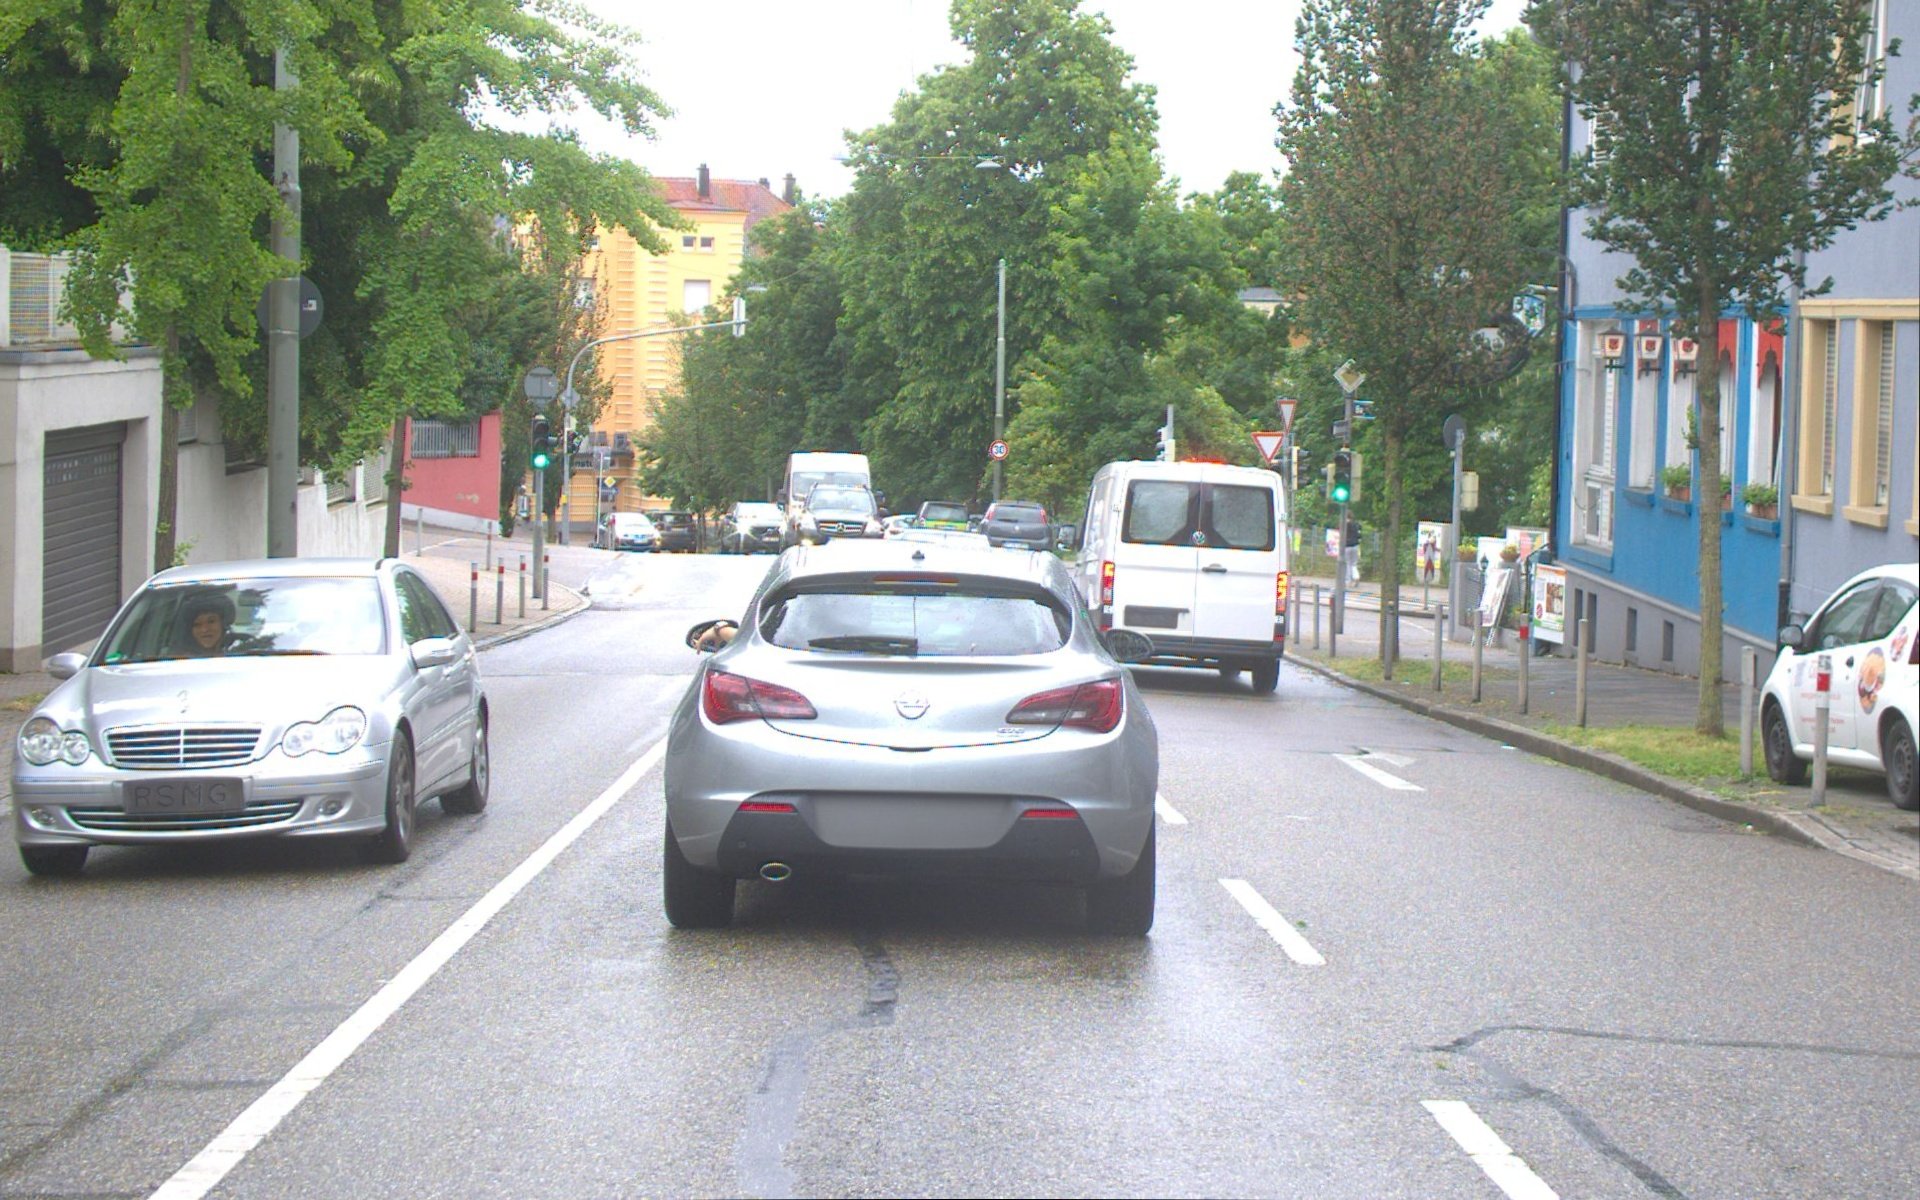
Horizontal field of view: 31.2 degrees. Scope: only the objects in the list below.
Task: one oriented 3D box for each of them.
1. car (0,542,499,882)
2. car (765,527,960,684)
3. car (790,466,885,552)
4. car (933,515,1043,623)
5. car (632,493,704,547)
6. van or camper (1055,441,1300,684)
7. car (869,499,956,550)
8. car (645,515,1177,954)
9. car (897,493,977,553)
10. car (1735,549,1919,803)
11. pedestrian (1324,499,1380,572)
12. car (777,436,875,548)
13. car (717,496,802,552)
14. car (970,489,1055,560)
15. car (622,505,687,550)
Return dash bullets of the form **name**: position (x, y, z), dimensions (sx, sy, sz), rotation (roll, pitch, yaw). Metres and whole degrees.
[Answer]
- **car**: position (-3.407, 0.445, 16.891), dimensions (1.719, 1.380, 4.285), rotation (-2, 1, -1)
- **car**: position (-0.924, 0.012, 33.337), dimensions (1.776, 1.425, 3.786), rotation (0, 1, -1)
- **car**: position (-2.611, -1.937, 72.335), dimensions (1.821, 1.646, 4.347), rotation (3, 2, -3)
- **car**: position (0.358, -0.452, 47.385), dimensions (1.383, 1.407, 3.457), rotation (1, 2, -1)
- **car**: position (-11.189, -3.050, 131.617), dimensions (1.993, 2.007, 4.001), rotation (1, 1, -16)
- **van or camper**: position (2.251, -0.443, 37.144), dimensions (2.103, 2.318, 5.418), rotation (3, 1, -1)
- **car**: position (-1.538, -2.402, 110.173), dimensions (1.814, 1.490, 4.001), rotation (-4, 2, -14)
- **car**: position (-0.200, 0.423, 14.054), dimensions (1.815, 1.425, 4.001), rotation (2, 2, -1)
- **car**: position (-0.597, -1.953, 88.256), dimensions (1.620, 1.481, 3.436), rotation (1, 1, -7)
- **car**: position (6.134, 0.407, 21.409), dimensions (1.586, 1.407, 3.457), rotation (-1, 2, -5)
- **pedestrian**: position (8.638, -1.426, 75.768), dimensions (0.766, 1.600, 0.965), rotation (-2, 2, -35)
- **car**: position (-3.227, -2.542, 81.945), dimensions (2.117, 2.537, 5.541), rotation (1, 1, -4)
- **car**: position (-5.983, -2.246, 102.106), dimensions (1.874, 1.569, 4.587), rotation (1, 1, -11)
- **car**: position (1.125, -1.636, 75.120), dimensions (1.620, 1.481, 3.436), rotation (1, 1, -2)
- **car**: position (-11.031, -2.605, 123.813), dimensions (1.773, 1.492, 4.264), rotation (2, 1, -12)
